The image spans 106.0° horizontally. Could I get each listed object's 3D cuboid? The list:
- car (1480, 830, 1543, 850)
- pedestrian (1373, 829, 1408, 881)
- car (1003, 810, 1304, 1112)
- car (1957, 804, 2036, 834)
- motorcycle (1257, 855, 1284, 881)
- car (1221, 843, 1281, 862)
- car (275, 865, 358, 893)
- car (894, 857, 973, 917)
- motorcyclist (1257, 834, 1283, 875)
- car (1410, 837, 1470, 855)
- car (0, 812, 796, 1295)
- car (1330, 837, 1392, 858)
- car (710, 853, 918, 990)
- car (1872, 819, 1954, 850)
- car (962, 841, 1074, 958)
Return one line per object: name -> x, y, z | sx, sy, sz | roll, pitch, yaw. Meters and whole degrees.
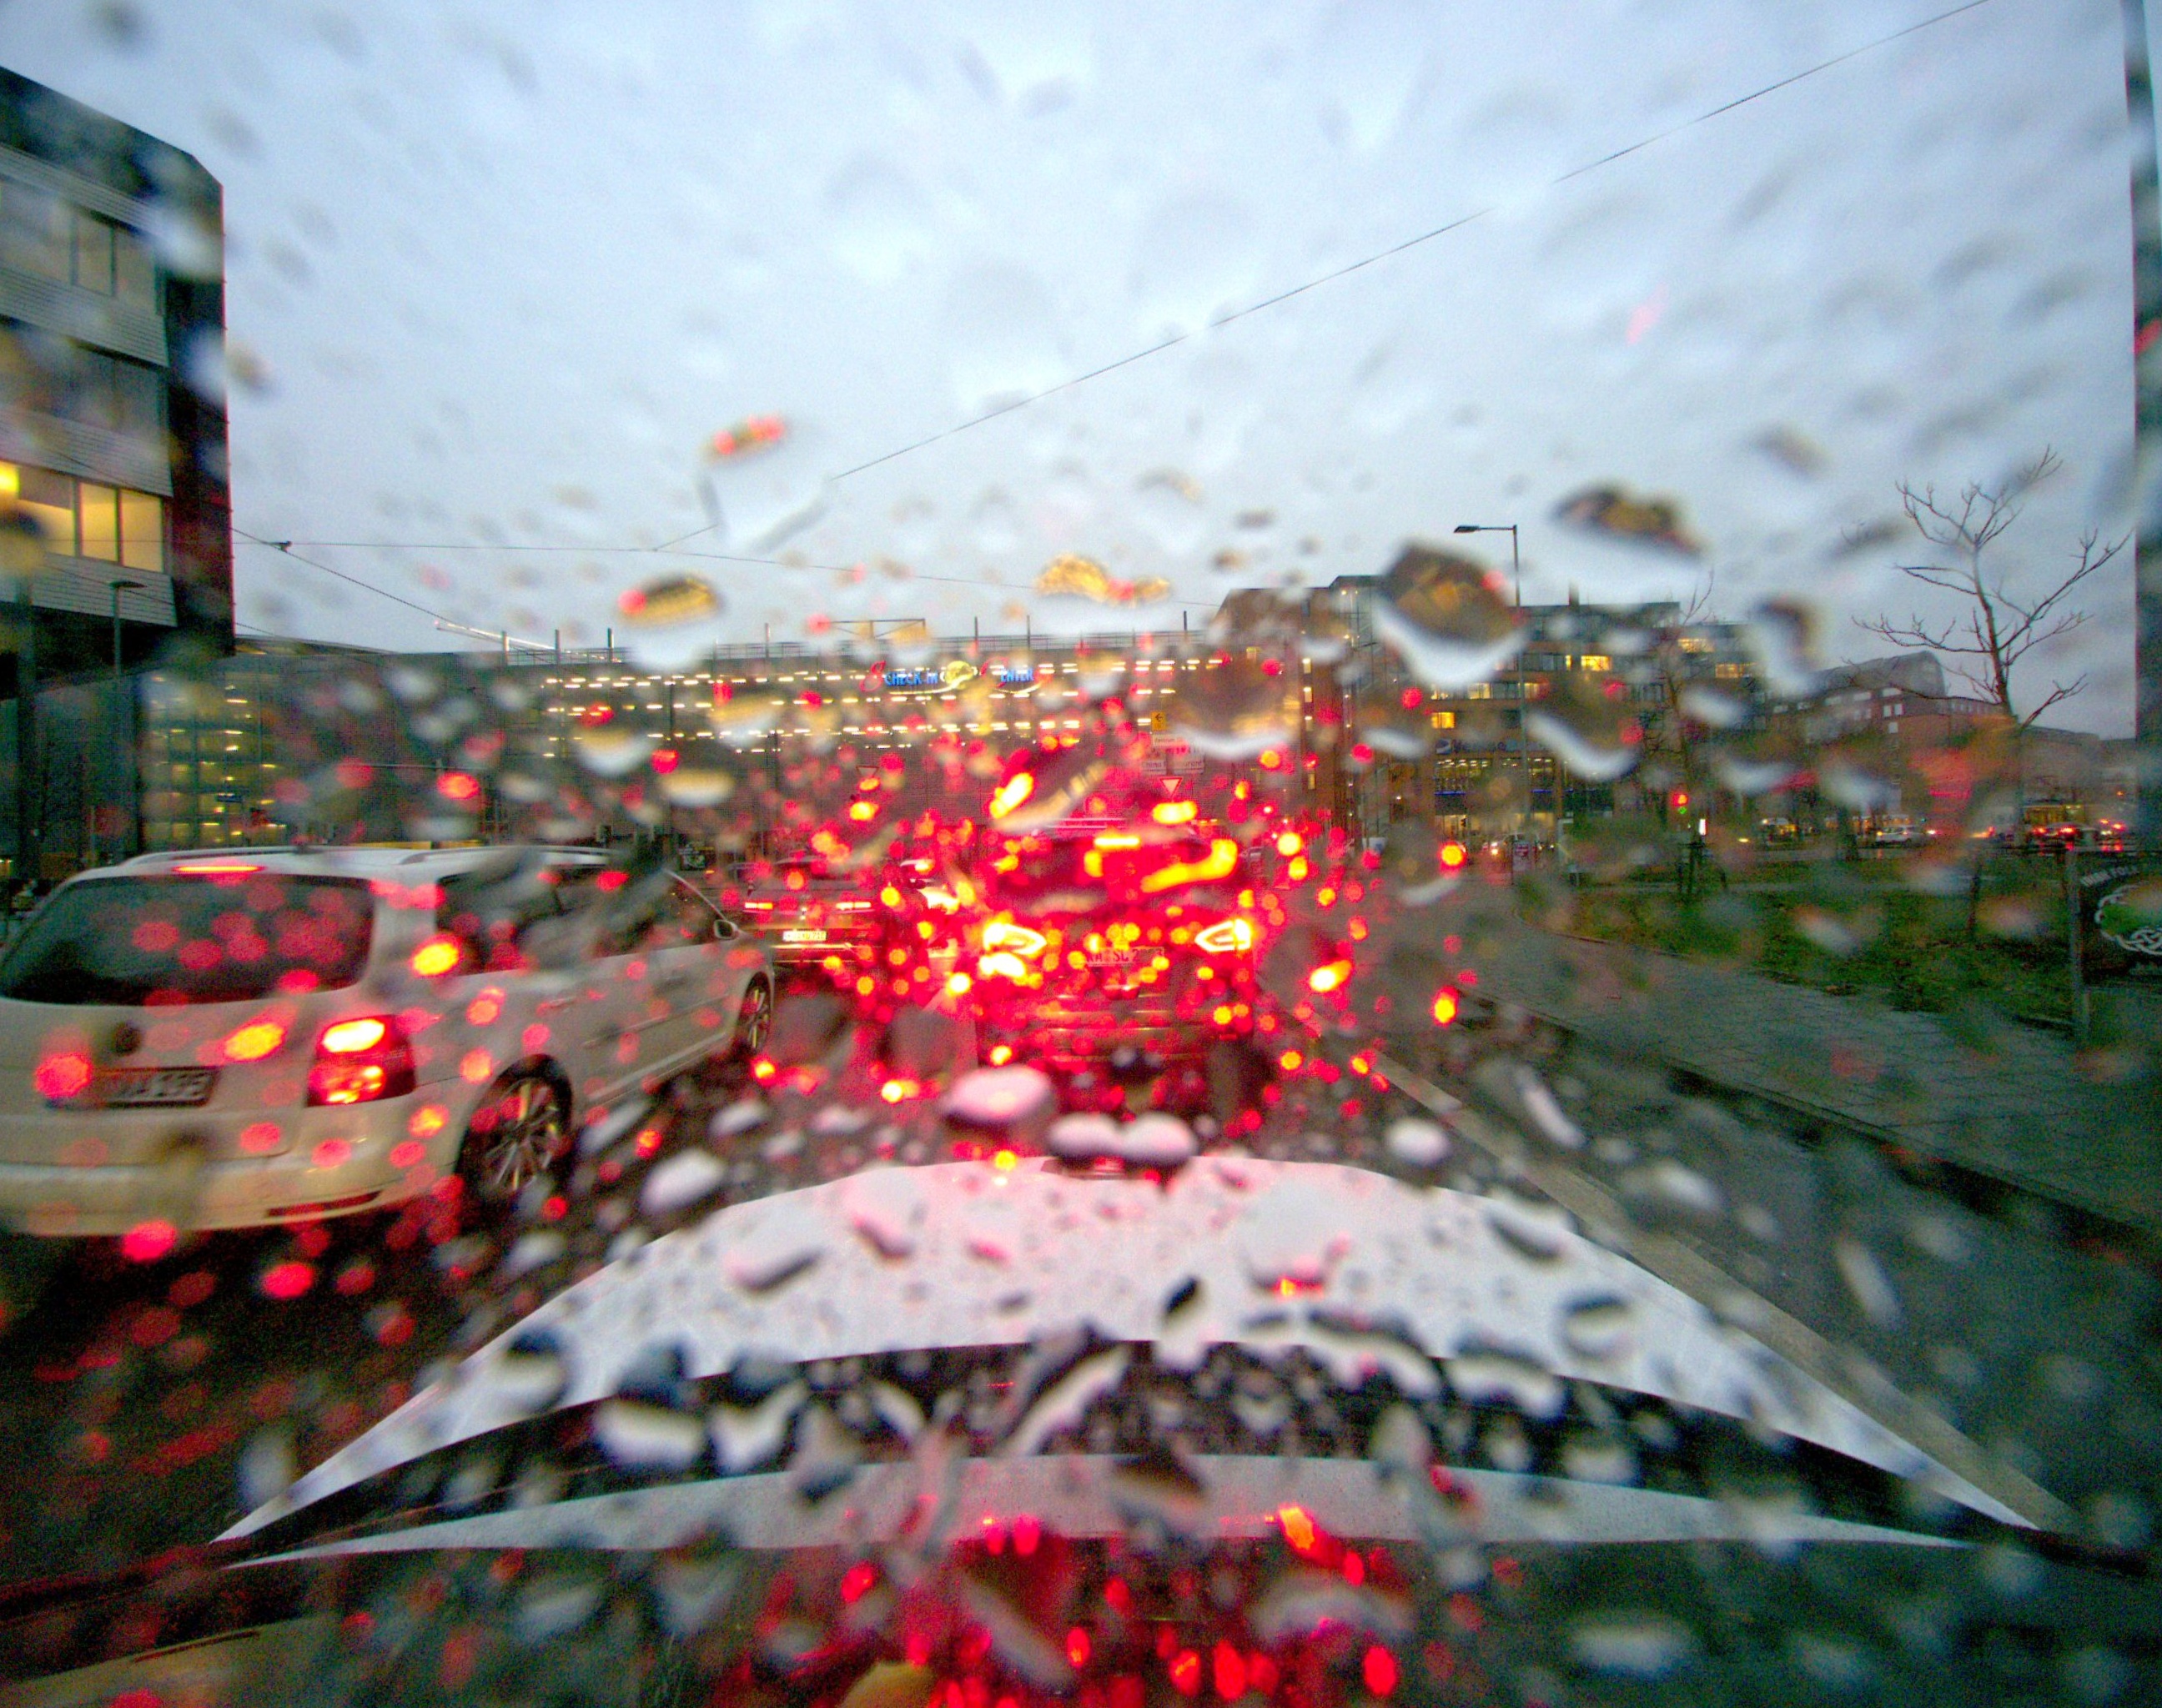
car -> 36.372, -1.165, 68.888 | 4.425, 1.534, 1.796 | -2, 0, -6
pedestrian -> 11.780, 0.018, 30.947 | 1.159, 1.924, 0.904 | 1, 0, 25
car -> 0.414, 0.613, 6.841 | 1.730, 1.738, 4.246 | 1, 0, 0
car -> 64.471, -2.431, 57.362 | 4.948, 2.013, 1.987 | 0, 0, -20
motorcycle -> 7.343, 0.538, 31.619 | 0.848, 0.972, 1.585 | -2, 0, 7
car -> 13.809, -0.100, 66.135 | 4.413, 1.390, 1.796 | -2, 0, -6
car -> -62.416, 2.026, 66.559 | 4.831, 2.000, 1.797 | -2, 0, -5
car -> -3.465, 0.728, 19.692 | 1.538, 1.251, 4.059 | -1, 0, -6
motorcyclist -> 7.333, 0.013, 31.635 | 0.863, 1.534, 1.110 | -2, 0, 7
car -> 29.904, -0.662, 67.870 | 4.209, 1.390, 1.796 | -2, 0, -6
car -> -3.268, 0.669, 4.880 | 1.665, 1.660, 4.147 | 1, 0, 0
car -> 22.873, -0.528, 66.565 | 4.413, 1.595, 1.796 | -2, 0, -6
car -> -3.579, 0.800, 11.707 | 1.748, 1.574, 3.997 | -2, 0, -2
car -> 56.616, -1.302, 55.435 | 3.985, 2.013, 1.994 | 0, 0, -9
car -> -1.007, 0.679, 13.886 | 1.632, 1.697, 3.667 | -1, 0, -3
